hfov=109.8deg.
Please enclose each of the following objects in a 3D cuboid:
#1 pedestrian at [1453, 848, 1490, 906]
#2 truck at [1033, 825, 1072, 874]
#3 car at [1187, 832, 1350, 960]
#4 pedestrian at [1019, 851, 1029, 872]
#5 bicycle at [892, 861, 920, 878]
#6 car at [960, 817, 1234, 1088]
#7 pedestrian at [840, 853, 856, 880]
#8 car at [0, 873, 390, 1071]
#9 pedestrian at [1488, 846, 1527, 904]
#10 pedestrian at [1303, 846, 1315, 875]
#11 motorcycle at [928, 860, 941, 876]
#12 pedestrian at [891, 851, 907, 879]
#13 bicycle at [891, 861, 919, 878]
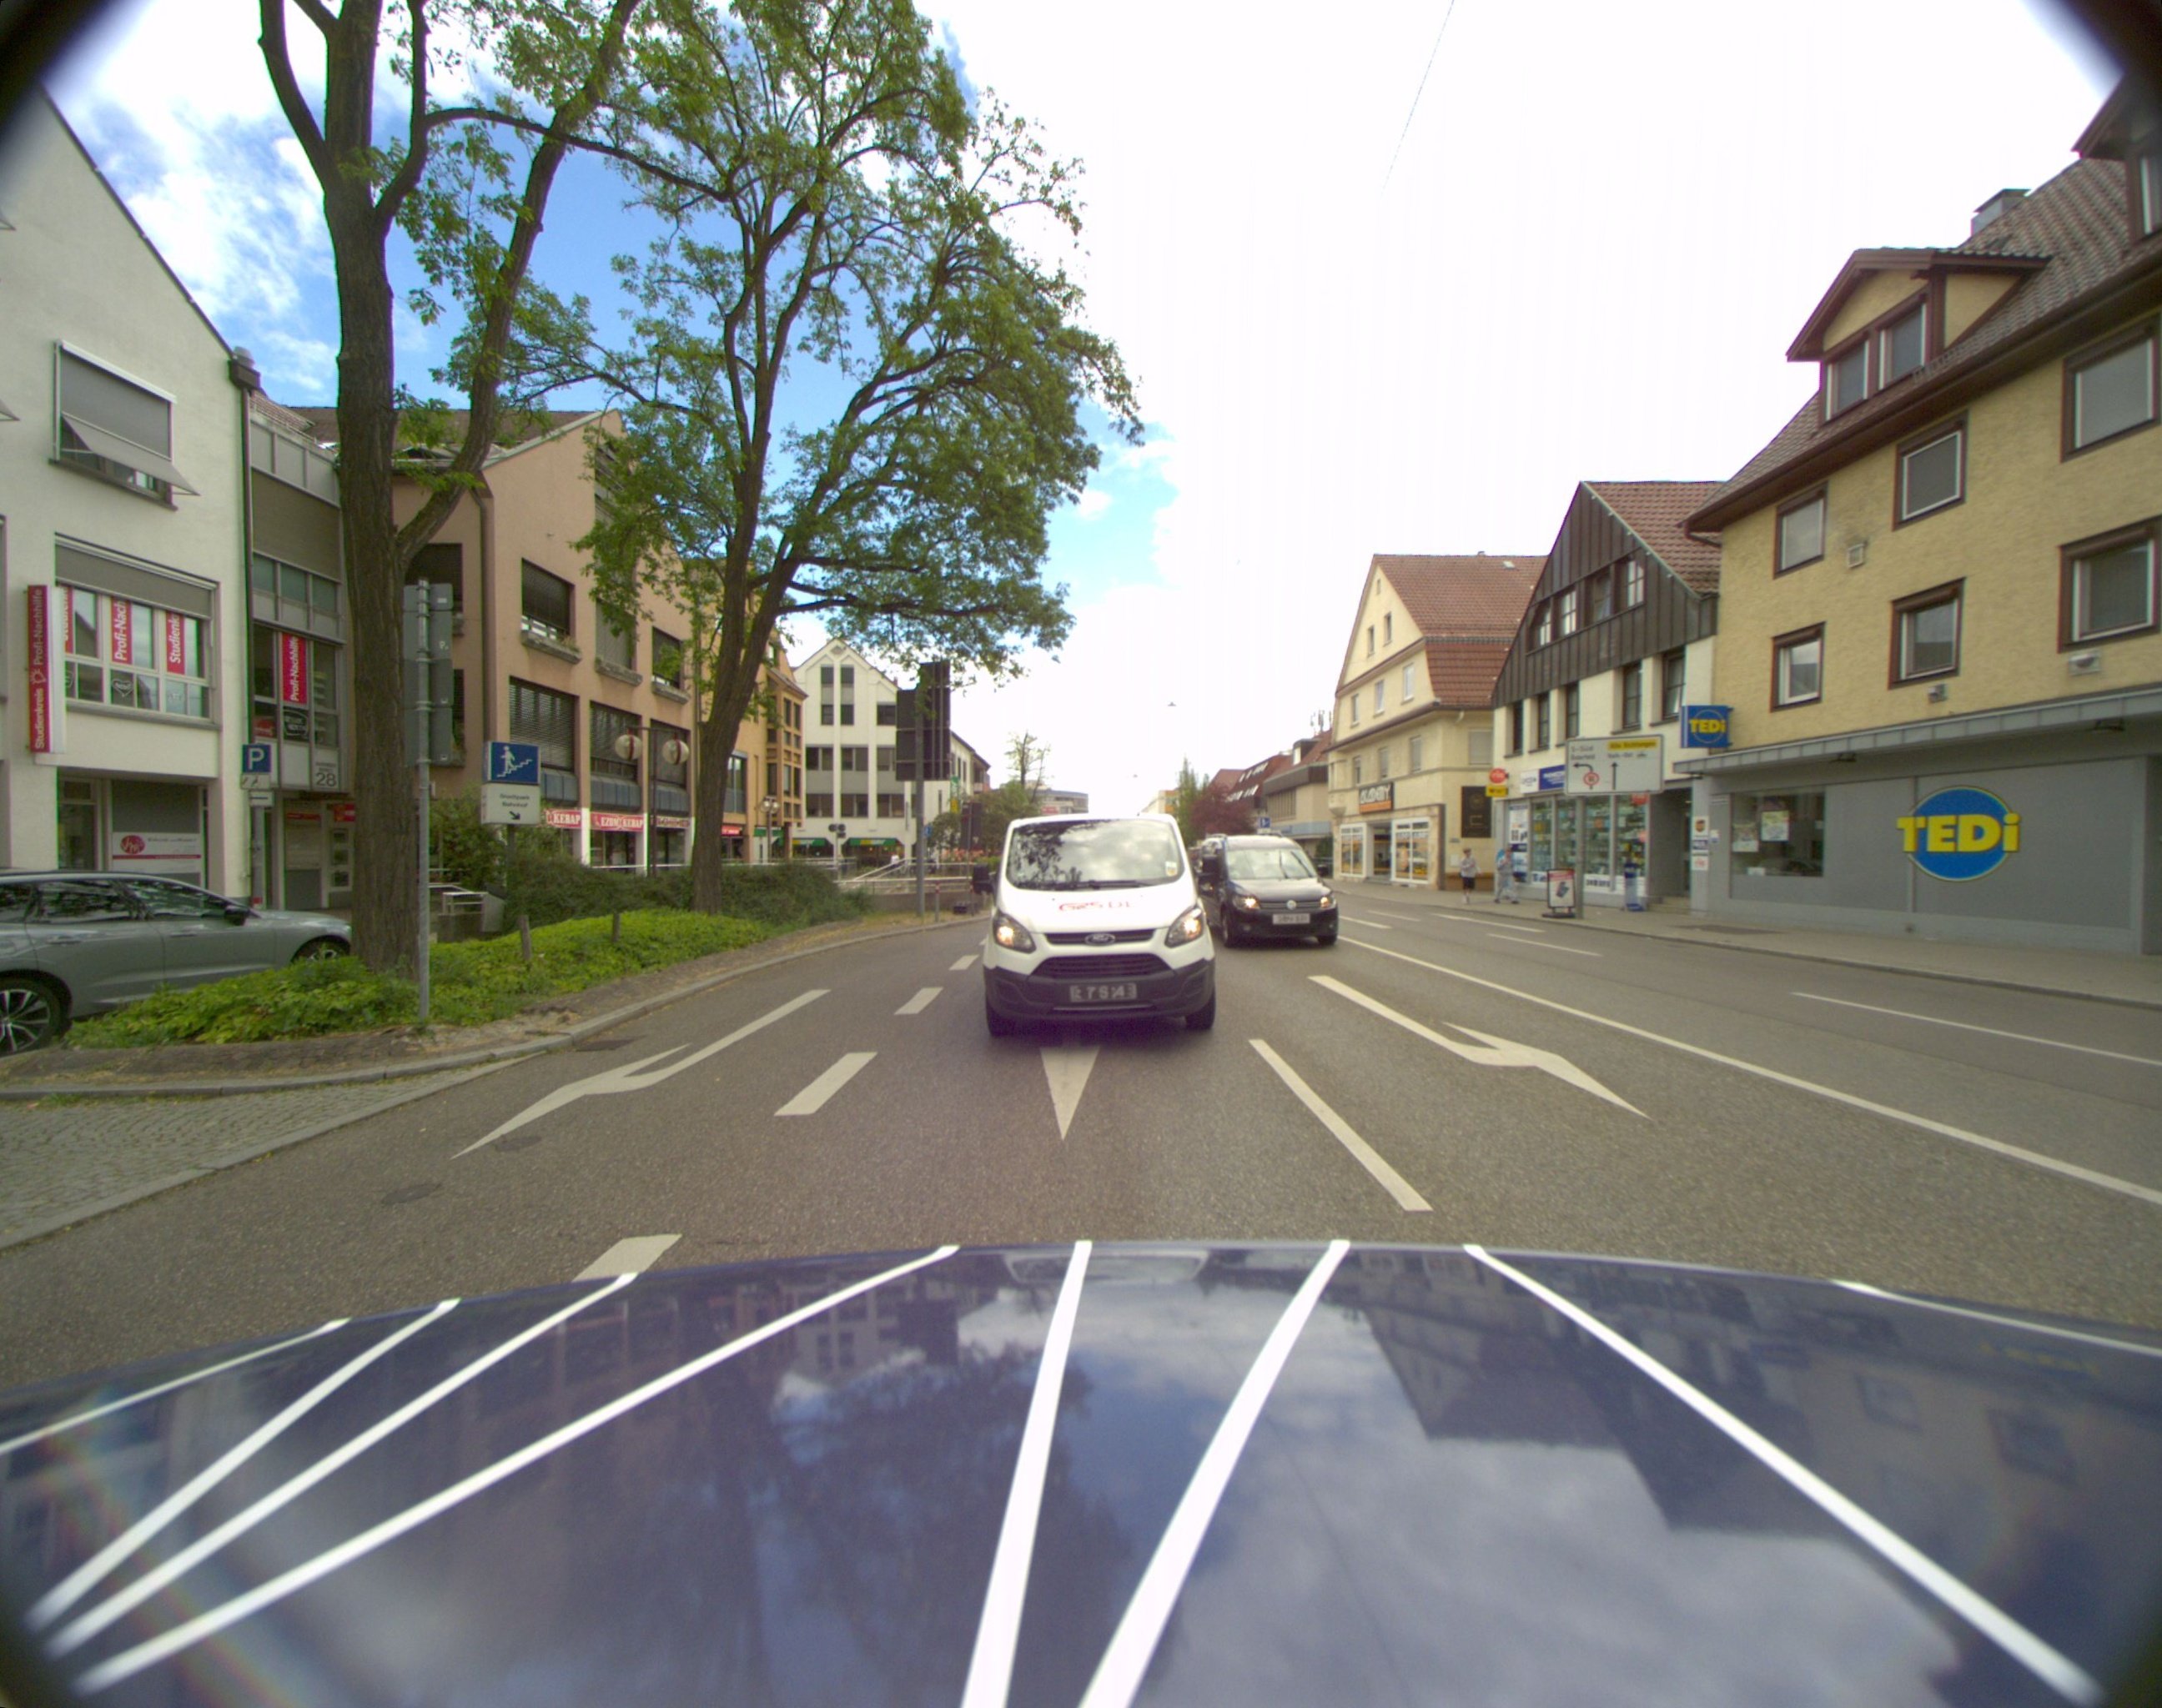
[{"bbox_3d":[11.615,0.662,22.594,0.689,1.680,0.742,-1,1,1],"label":"pedestrian"},{"bbox_3d":[-2.112,-0.415,59.352,2.446,3.464,8.346,-2,1,1],"label":"truck"},{"bbox_3d":[3.102,0.614,13.568,1.749,1.844,4.633,-2,0,0],"label":"car"},{"bbox_3d":[-4.230,0.565,56.127,0.653,1.568,0.684,-1,1,1],"label":"pedestrian"},{"bbox_3d":[-10.366,0.915,45.096,1.594,0.963,0.461,0,1,-14],"label":"bicycle"},{"bbox_3d":[0.135,0.698,8.053,1.964,1.948,5.163,0,0,0],"label":"car"},{"bbox_3d":[-15.398,0.824,50.312,0.887,1.747,0.943,0,1,-11],"label":"pedestrian"},{"bbox_3d":[-10.314,1.065,7.909,1.999,1.586,4.762,0,0,-2],"label":"car"},{"bbox_3d":[12.488,0.608,22.262,0.689,1.660,0.709,-3,1,1],"label":"pedestrian"},{"bbox_3d":[14.927,0.410,49.795,0.551,1.878,0.592,-2,1,-3],"label":"pedestrian"},{"bbox_3d":[-9.714,0.921,50.388,0.464,1.062,1.995,0,0,1],"label":"motorcycle"},{"bbox_3d":[-12.025,0.746,50.252,0.871,1.812,0.785,-2,1,-3],"label":"pedestrian"},{"bbox_3d":[-10.286,0.898,44.401,1.594,0.996,0.414,0,1,-13],"label":"bicycle"}]
